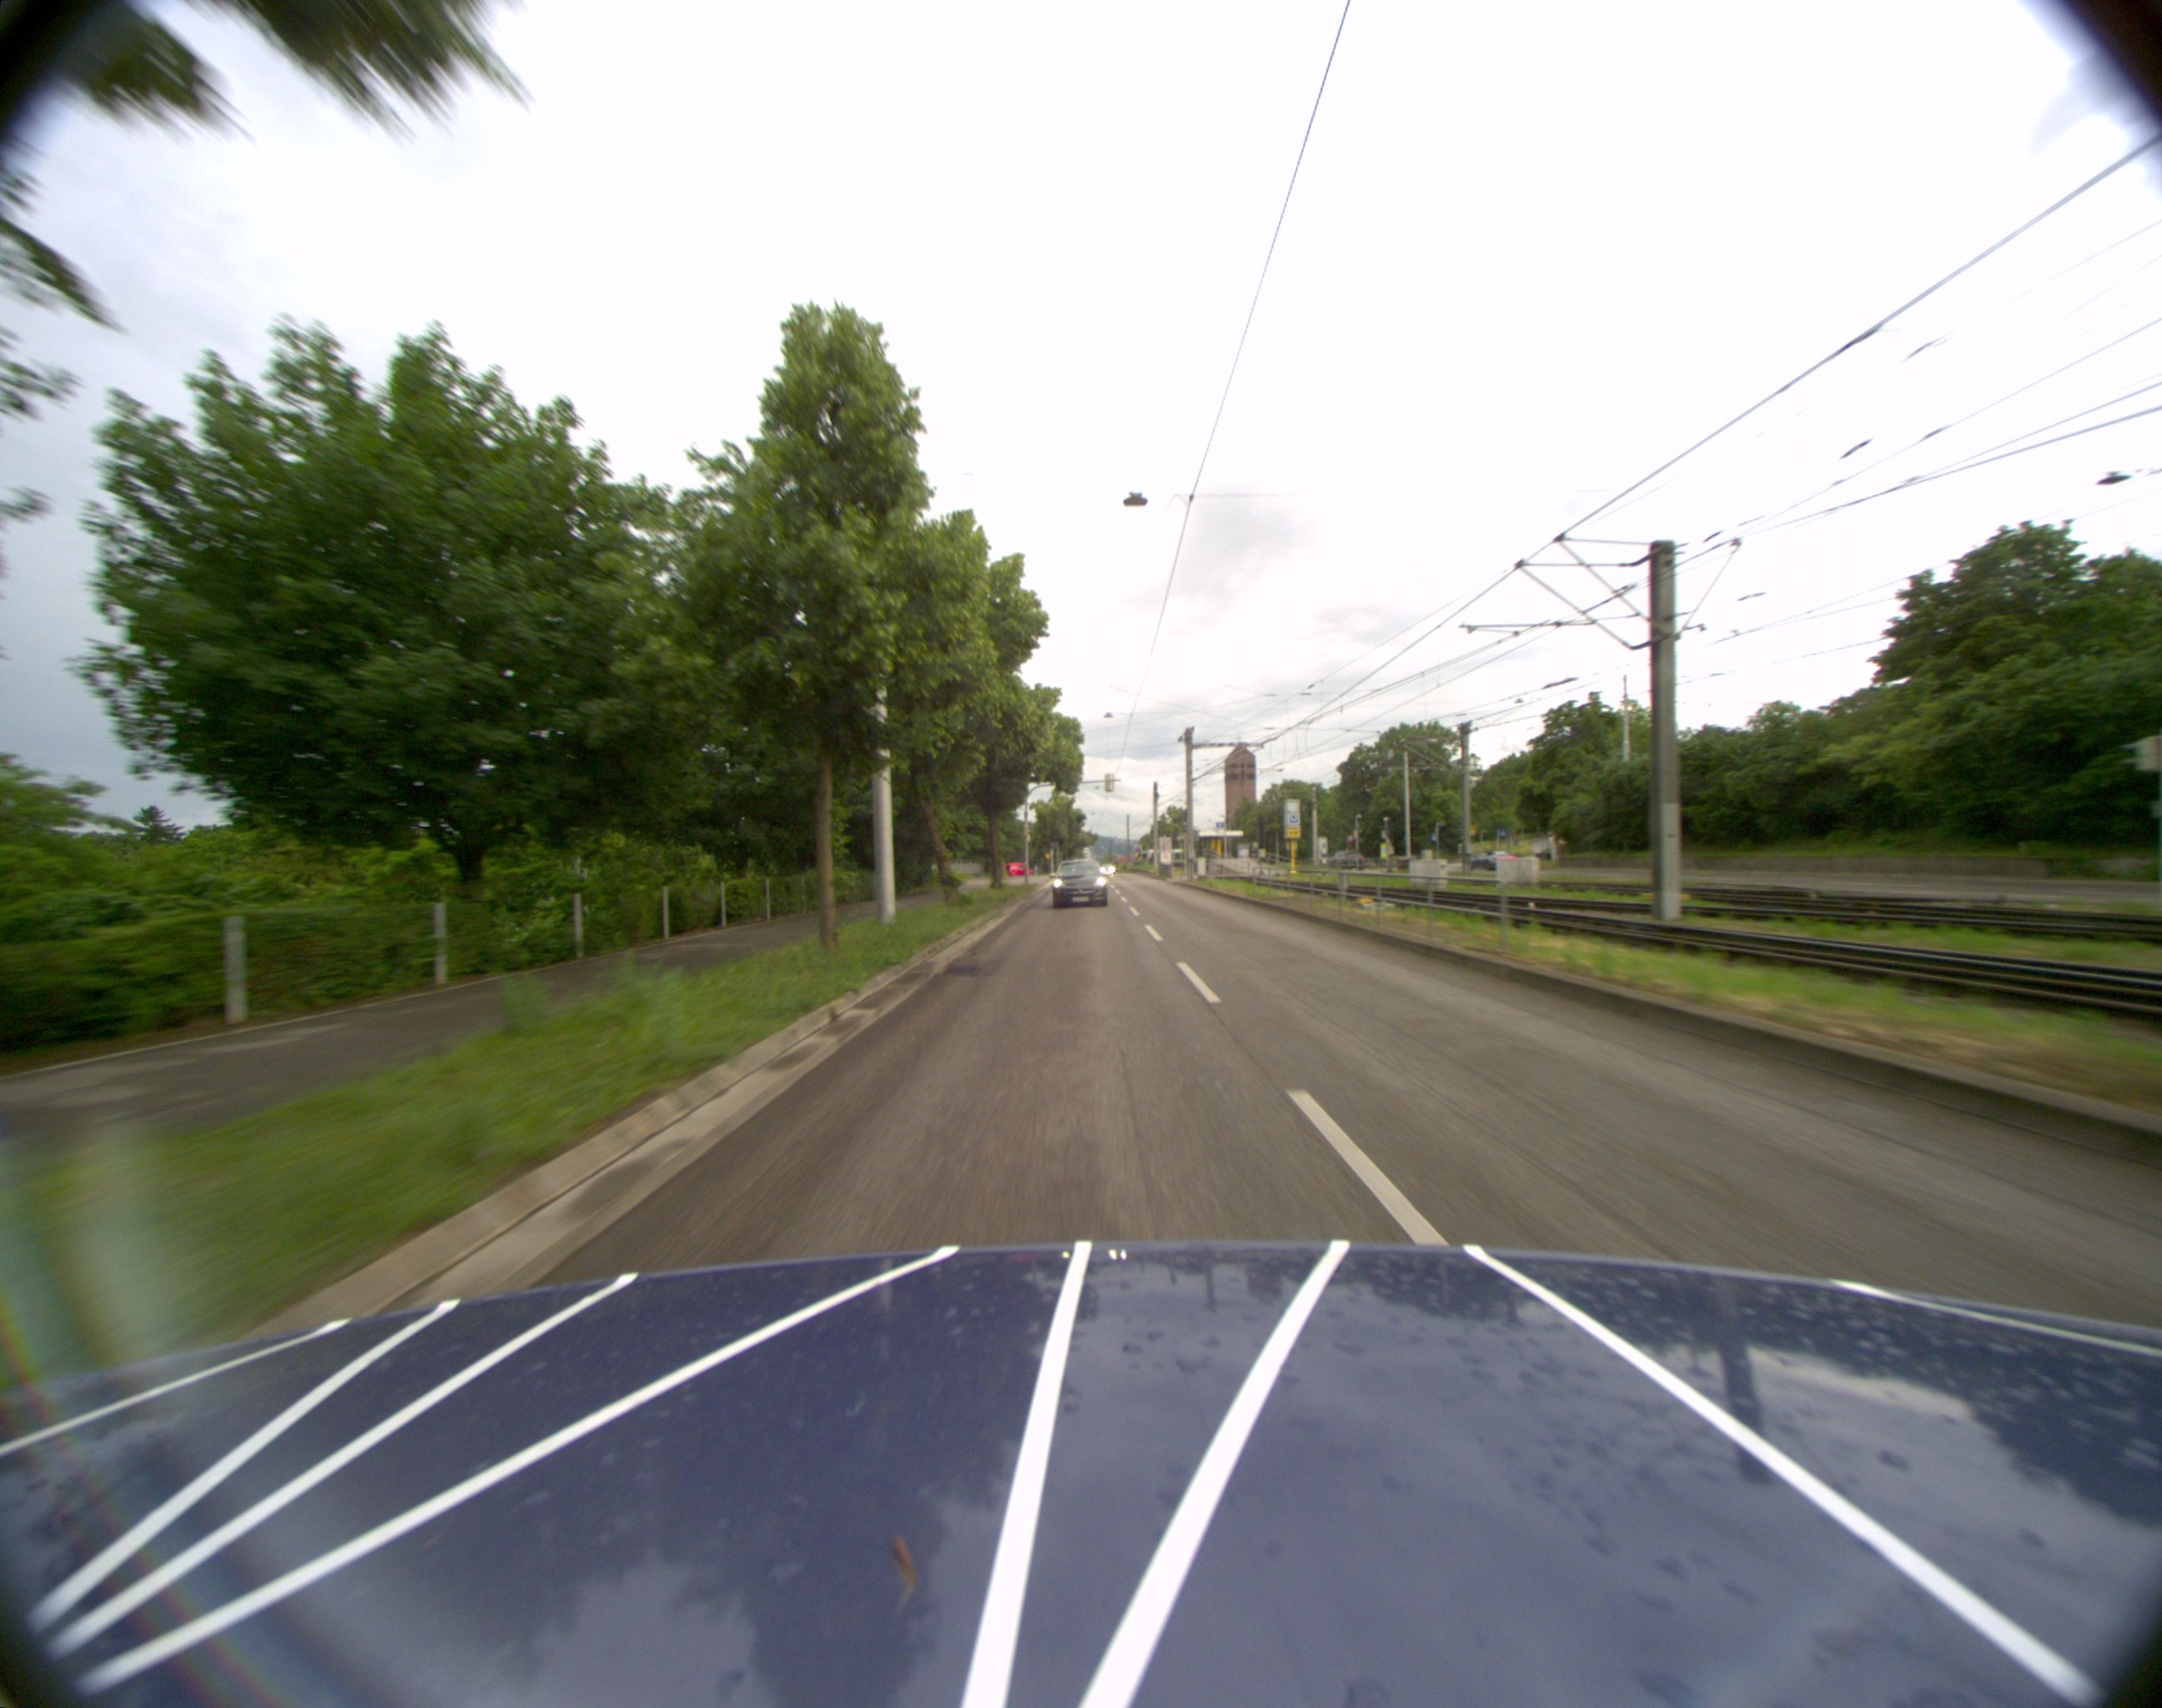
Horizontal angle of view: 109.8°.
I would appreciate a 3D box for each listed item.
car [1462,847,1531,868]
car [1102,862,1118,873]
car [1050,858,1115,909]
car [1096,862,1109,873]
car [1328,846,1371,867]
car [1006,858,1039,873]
[{"bbox_3d":[26.321,0.221,48.326,1.932,1.254,4.474,-1,0,0],"label":"car"},{"bbox_3d":[3.824,1.791,99.956,1.899,1.432,4.247,-2,-1,1],"label":"car"},{"bbox_3d":[0.074,0.922,24.821,1.899,1.432,4.474,-2,-1,1],"label":"car"},{"bbox_3d":[3.361,2.151,118.615,1.812,1.566,3.971,-3,0,1],"label":"car"},{"bbox_3d":[23.864,0.220,67.776,2.088,1.728,4.862,-1,0,0],"label":"car"},{"bbox_3d":[-9.138,1.839,118.744,1.994,2.179,5.040,-2,0,43],"label":"car"}]
